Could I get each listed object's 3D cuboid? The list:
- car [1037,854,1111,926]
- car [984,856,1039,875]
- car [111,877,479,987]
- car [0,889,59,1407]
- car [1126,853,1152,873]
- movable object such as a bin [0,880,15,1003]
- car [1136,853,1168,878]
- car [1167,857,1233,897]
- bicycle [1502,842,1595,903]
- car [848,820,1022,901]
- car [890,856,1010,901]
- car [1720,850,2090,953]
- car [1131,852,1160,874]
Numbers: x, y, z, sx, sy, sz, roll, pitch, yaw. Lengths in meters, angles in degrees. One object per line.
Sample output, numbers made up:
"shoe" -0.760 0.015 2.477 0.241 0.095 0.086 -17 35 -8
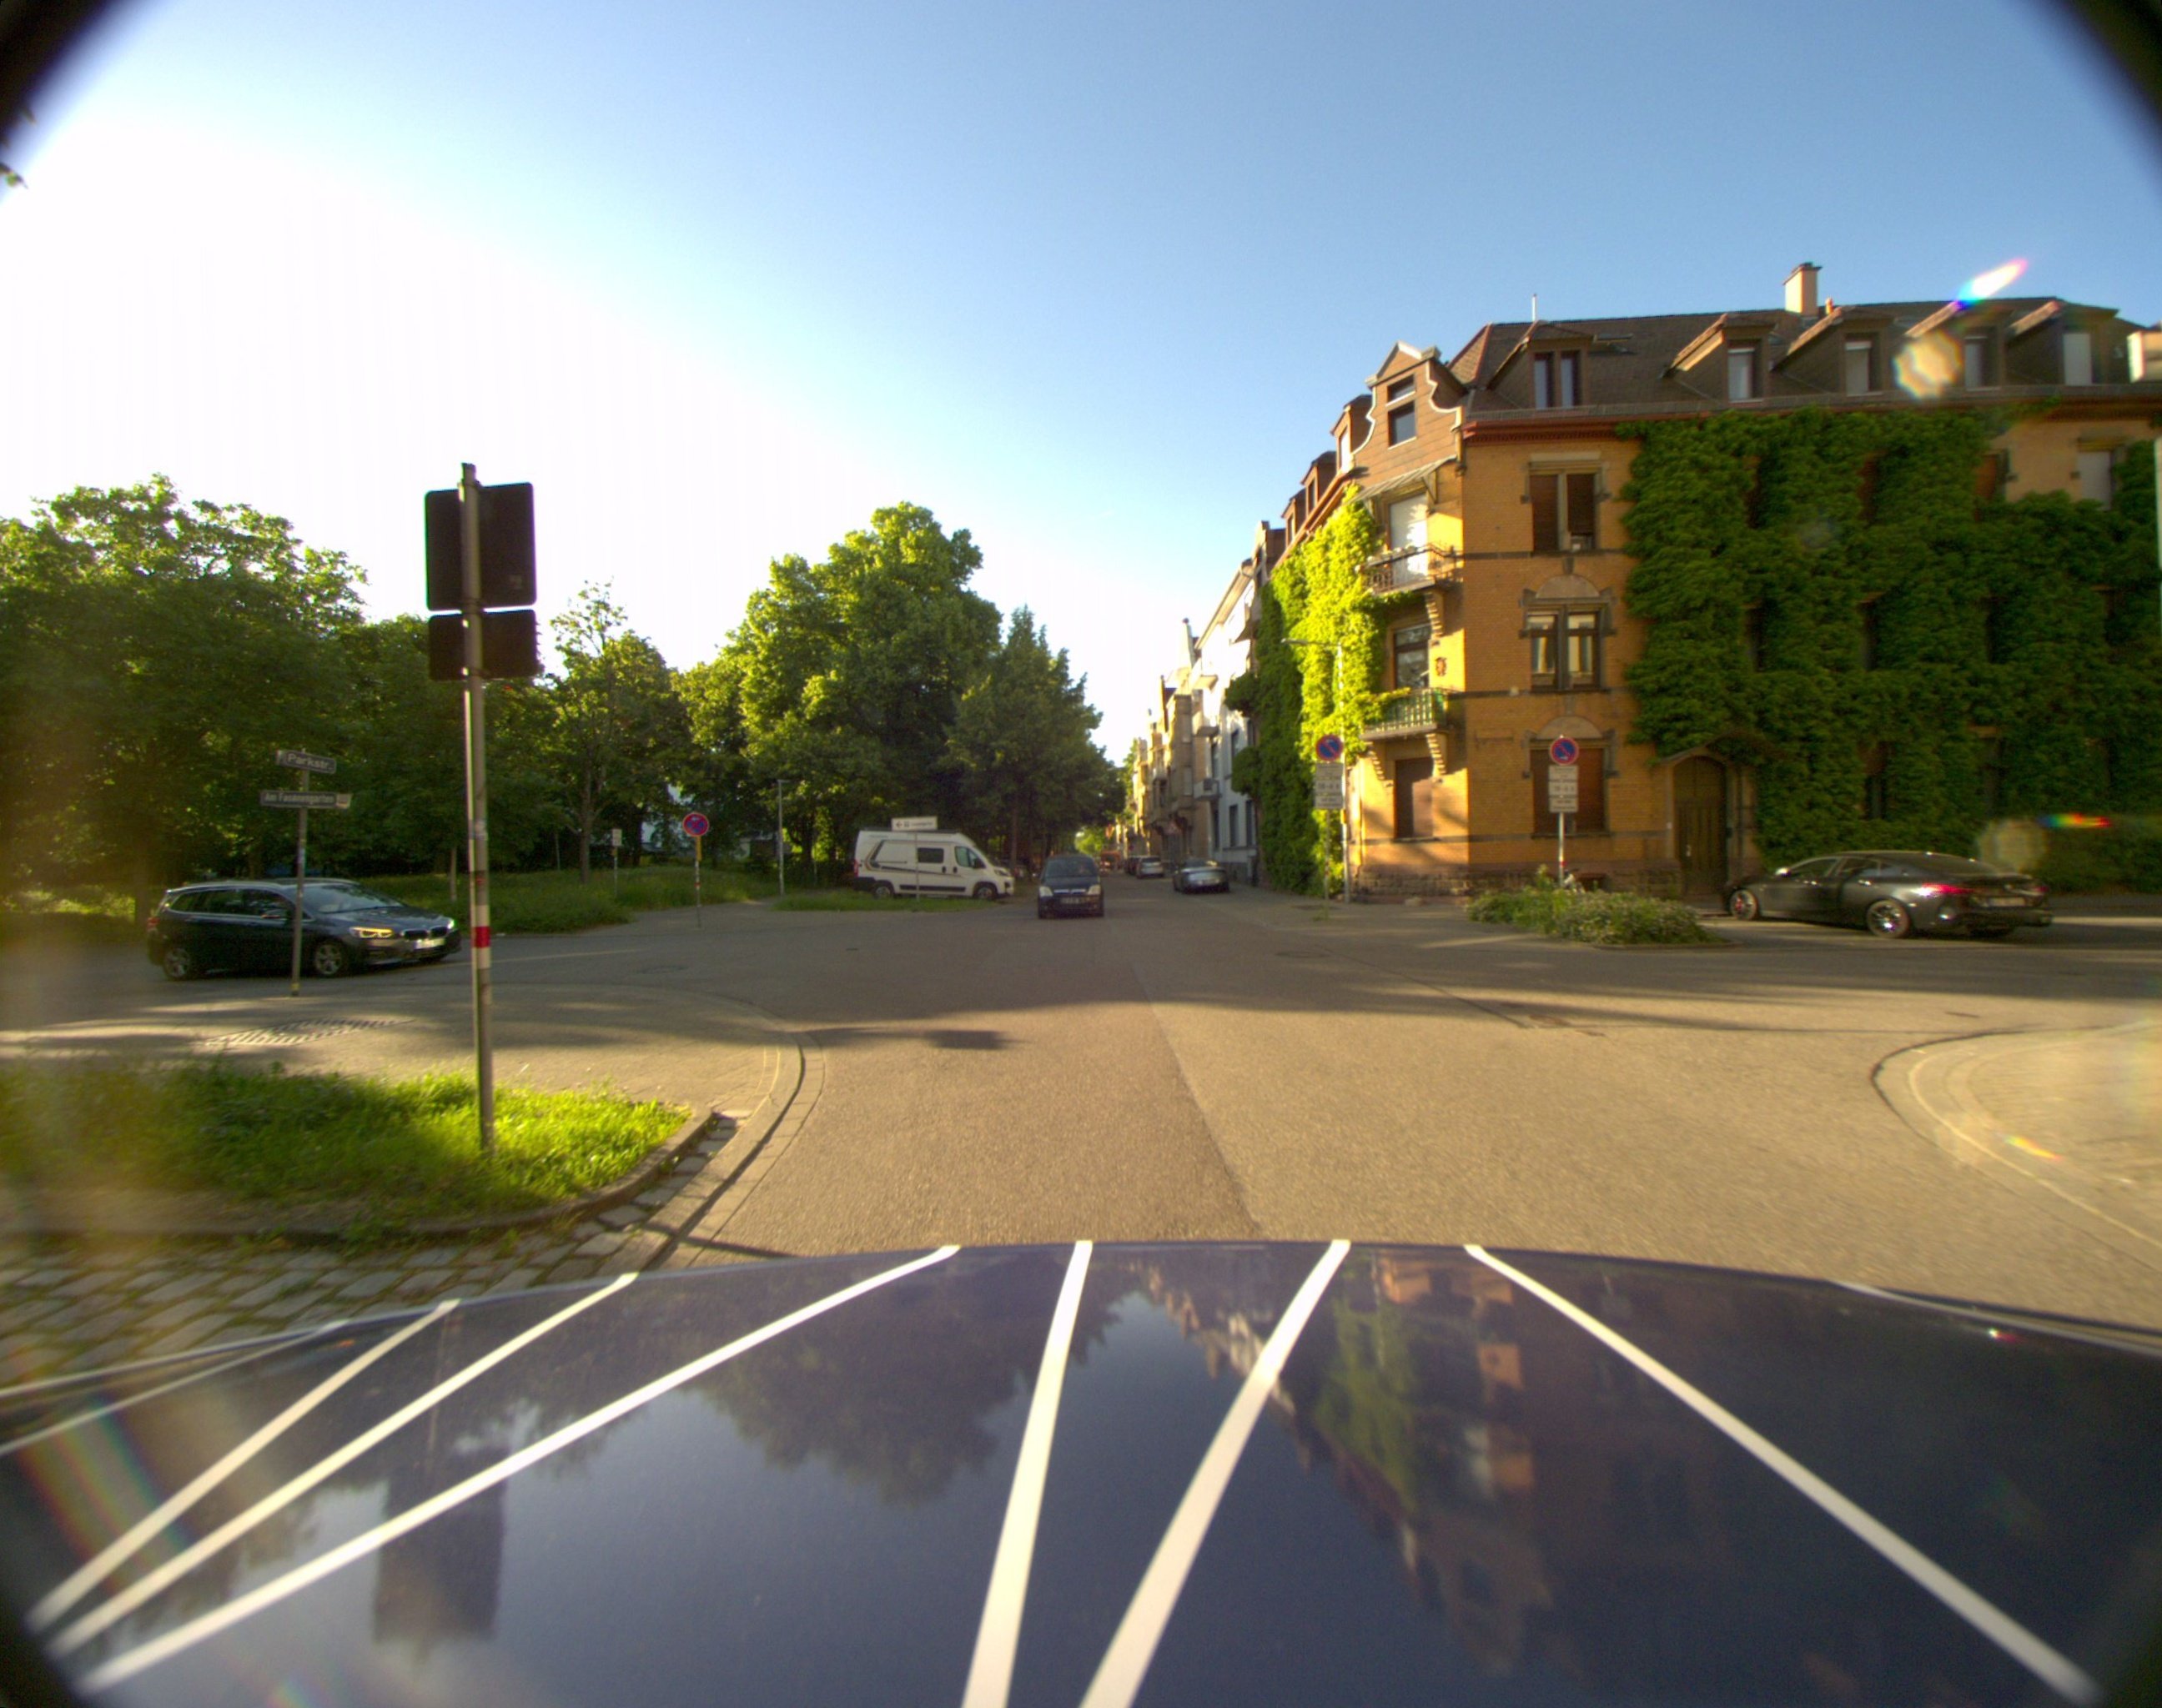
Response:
"car" -0.192 0.843 19.714 1.649 1.581 4.019 -3 0 -1
"car" -5.071 0.856 55.862 3.878 1.249 1.785 -1 1 -1
"car" -13.377 1.291 13.097 4.613 1.613 1.891 -1 2 6
"car" -5.205 0.898 1.314 3.998 1.547 1.999 0 1 -2
"car" 5.105 0.754 67.351 1.998 1.616 4.143 -1 1 1
"movable object such as a bin" -15.430 1.215 9.619 1.638 1.648 1.592 -1 2 7
"car" 4.936 0.786 53.199 1.867 1.538 3.792 -1 1 -1
"car" 4.892 0.891 31.886 1.882 1.396 4.925 -4 0 -1
"bicycle" 10.108 0.405 16.462 1.600 1.261 0.565 -2 0 9
"car" -4.994 0.185 26.745 5.628 2.599 2.238 -1 2 -1
"car" -5.003 0.923 29.442 4.297 1.566 1.978 -1 1 -1
"car" 14.170 0.705 13.544 1.998 1.427 4.256 -1 1 1
"car" 5.201 0.696 61.753 1.998 1.616 4.143 -1 1 1
